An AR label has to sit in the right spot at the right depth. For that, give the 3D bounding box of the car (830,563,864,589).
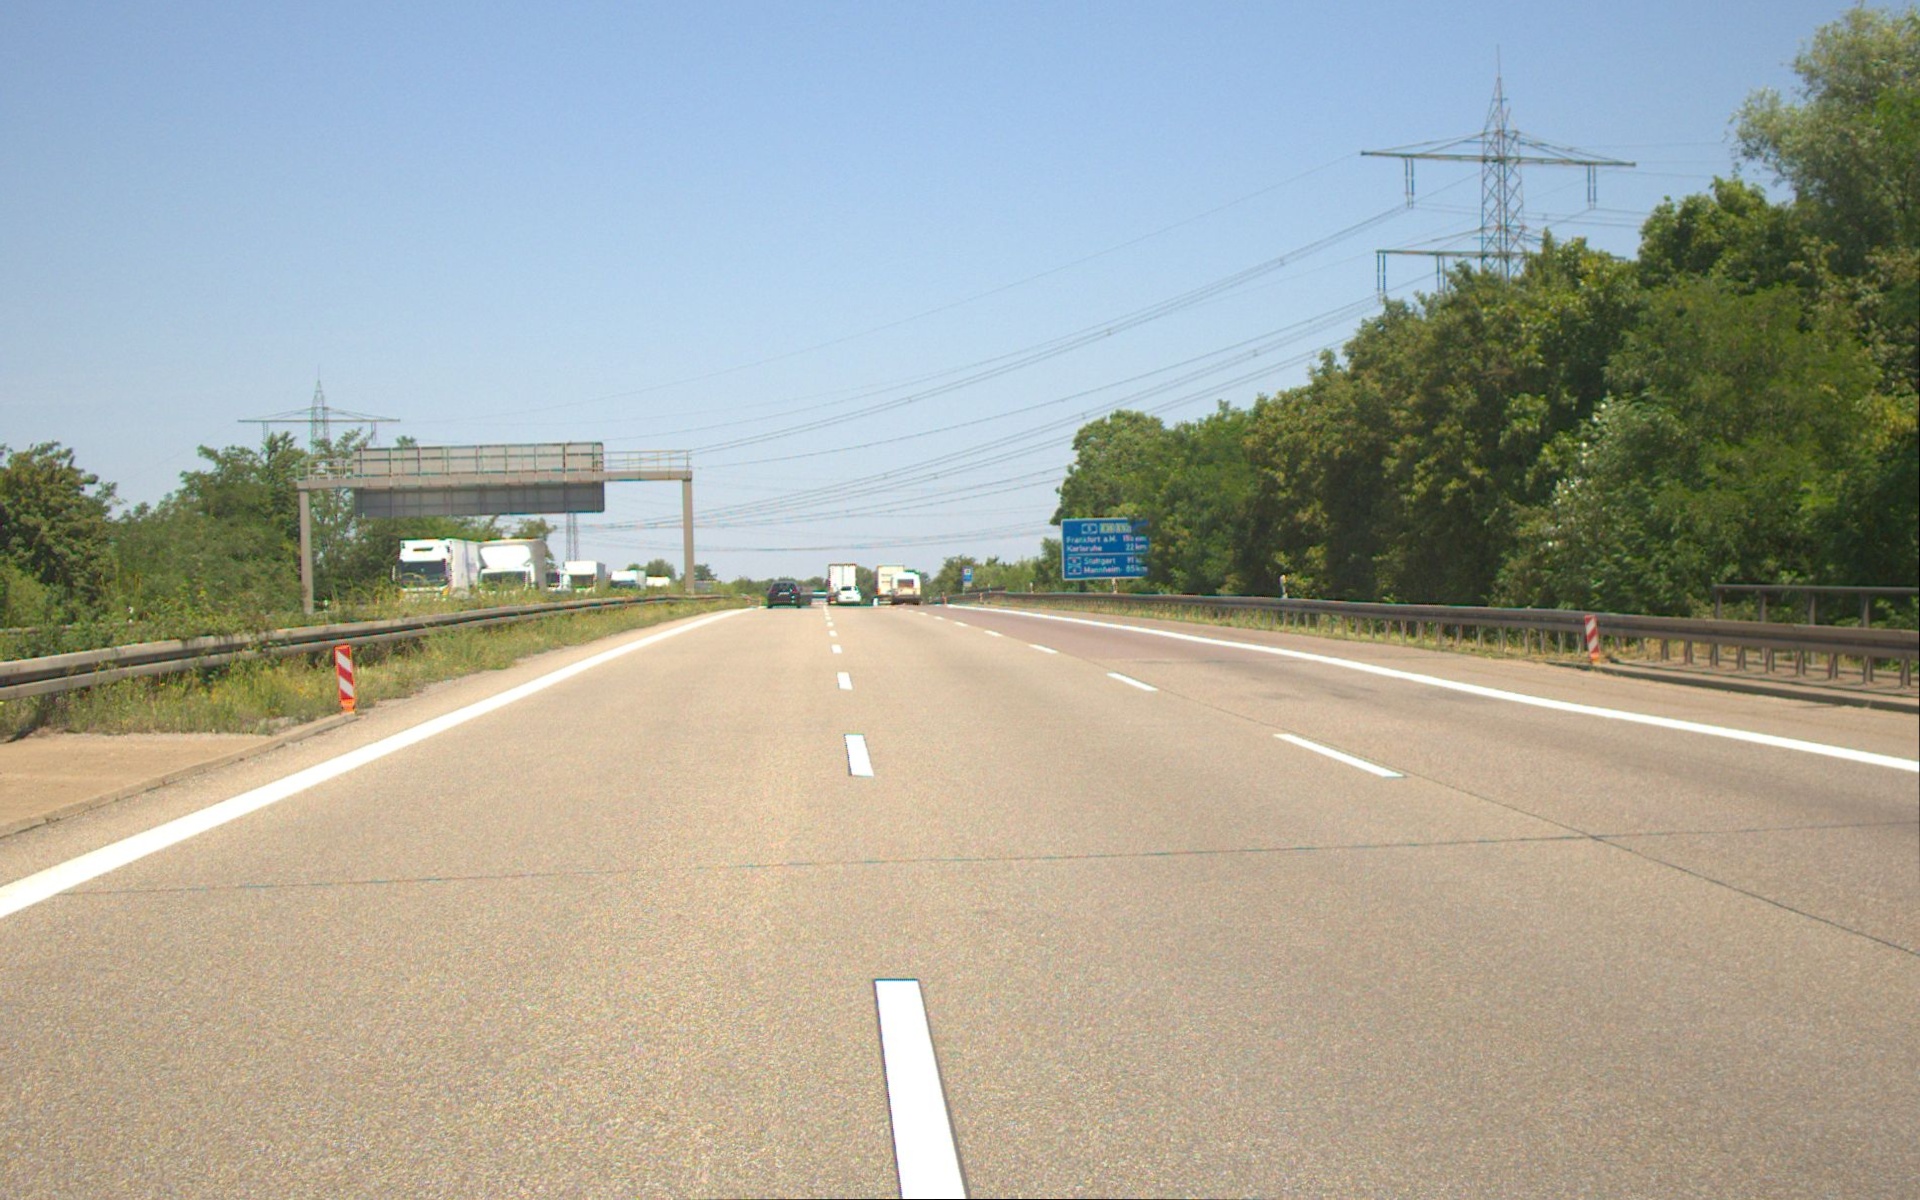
[{"bbox_3d":[-8.445,-1.809,257.466,2.177,1.923,4.611,-1,0,2],"label":"car"}]

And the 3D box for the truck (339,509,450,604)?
[{"bbox_3d":[-28.412,-2.154,173.699,3.215,4.362,17.194,-4,1,-2],"label":"truck"}]

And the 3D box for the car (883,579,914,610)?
[{"bbox_3d":[-4.183,-0.382,232.792,1.993,2.007,4.000,-1,0,-3],"label":"car"}]

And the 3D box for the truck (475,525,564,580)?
[{"bbox_3d":[-17.626,-1.890,137.868,2.729,2.060,7.138,-1,1,-1],"label":"truck"}]

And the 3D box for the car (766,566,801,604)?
[{"bbox_3d":[-9.416,-0.791,183.948,1.791,2.007,3.888,0,0,-2],"label":"car"}]
